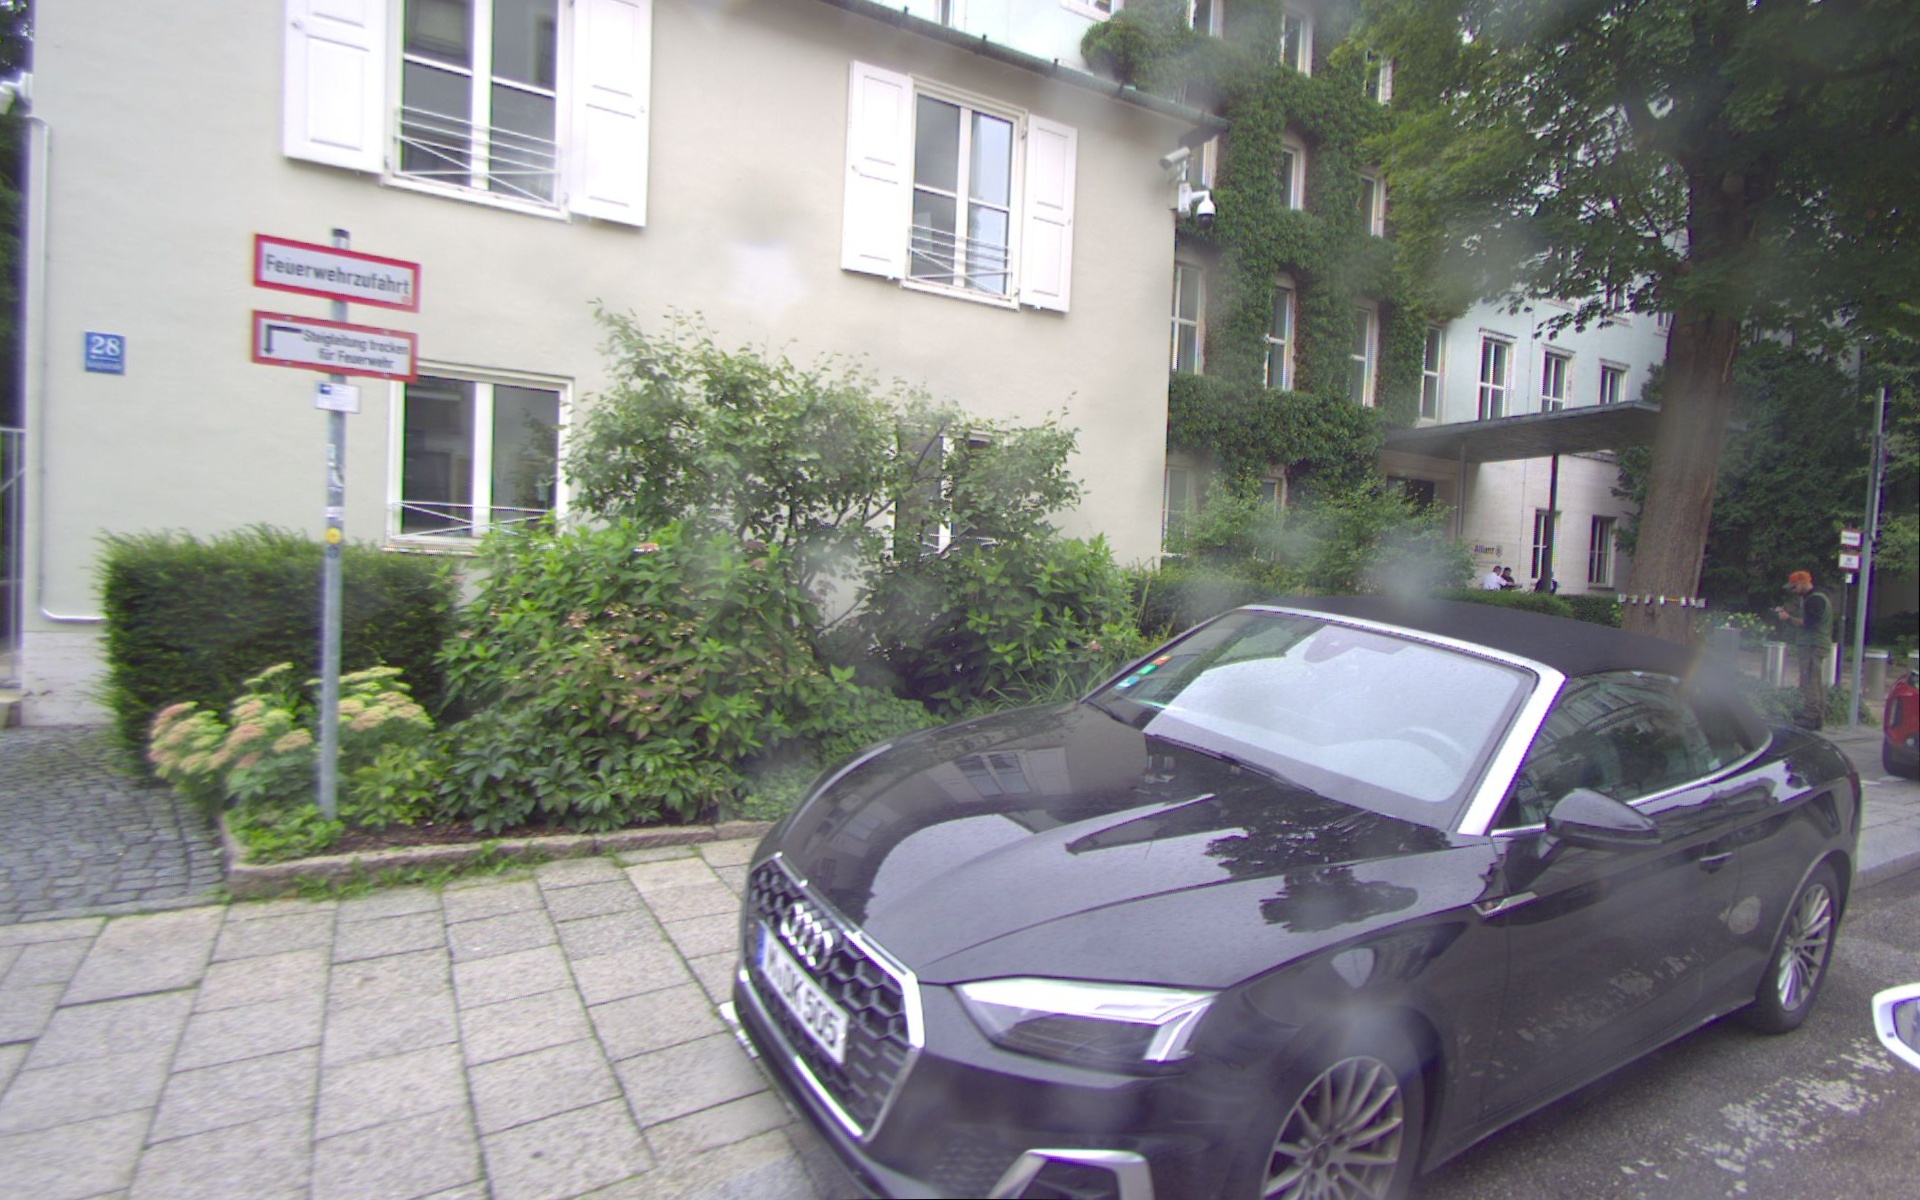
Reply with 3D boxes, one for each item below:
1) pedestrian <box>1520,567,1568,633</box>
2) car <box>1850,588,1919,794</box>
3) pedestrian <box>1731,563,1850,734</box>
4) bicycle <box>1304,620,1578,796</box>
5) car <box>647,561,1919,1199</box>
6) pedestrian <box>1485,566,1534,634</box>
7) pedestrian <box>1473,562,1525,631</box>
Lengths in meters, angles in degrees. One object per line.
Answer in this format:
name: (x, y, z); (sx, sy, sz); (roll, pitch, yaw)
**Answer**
pedestrian: (16.240, 0.008, 27.946); (0.891, 1.776, 0.745); (3, 1, -33)
car: (9.788, 0.828, 8.650); (4.477, 1.612, 1.877); (2, 3, -32)
pedestrian: (9.596, 0.542, 11.612); (0.788, 1.877, 0.709); (2, 3, -30)
bicycle: (3.563, 0.753, 7.410); (2.019, 1.145, 0.647); (2, 1, -25)
car: (1.604, 0.714, 3.581); (4.873, 1.421, 1.796); (2, 3, -34)
pedestrian: (14.969, 0.007, 27.371); (0.891, 1.776, 0.745); (3, 1, -33)
pedestrian: (14.342, -0.092, 26.737); (0.744, 1.776, 0.893); (1, 2, -32)
